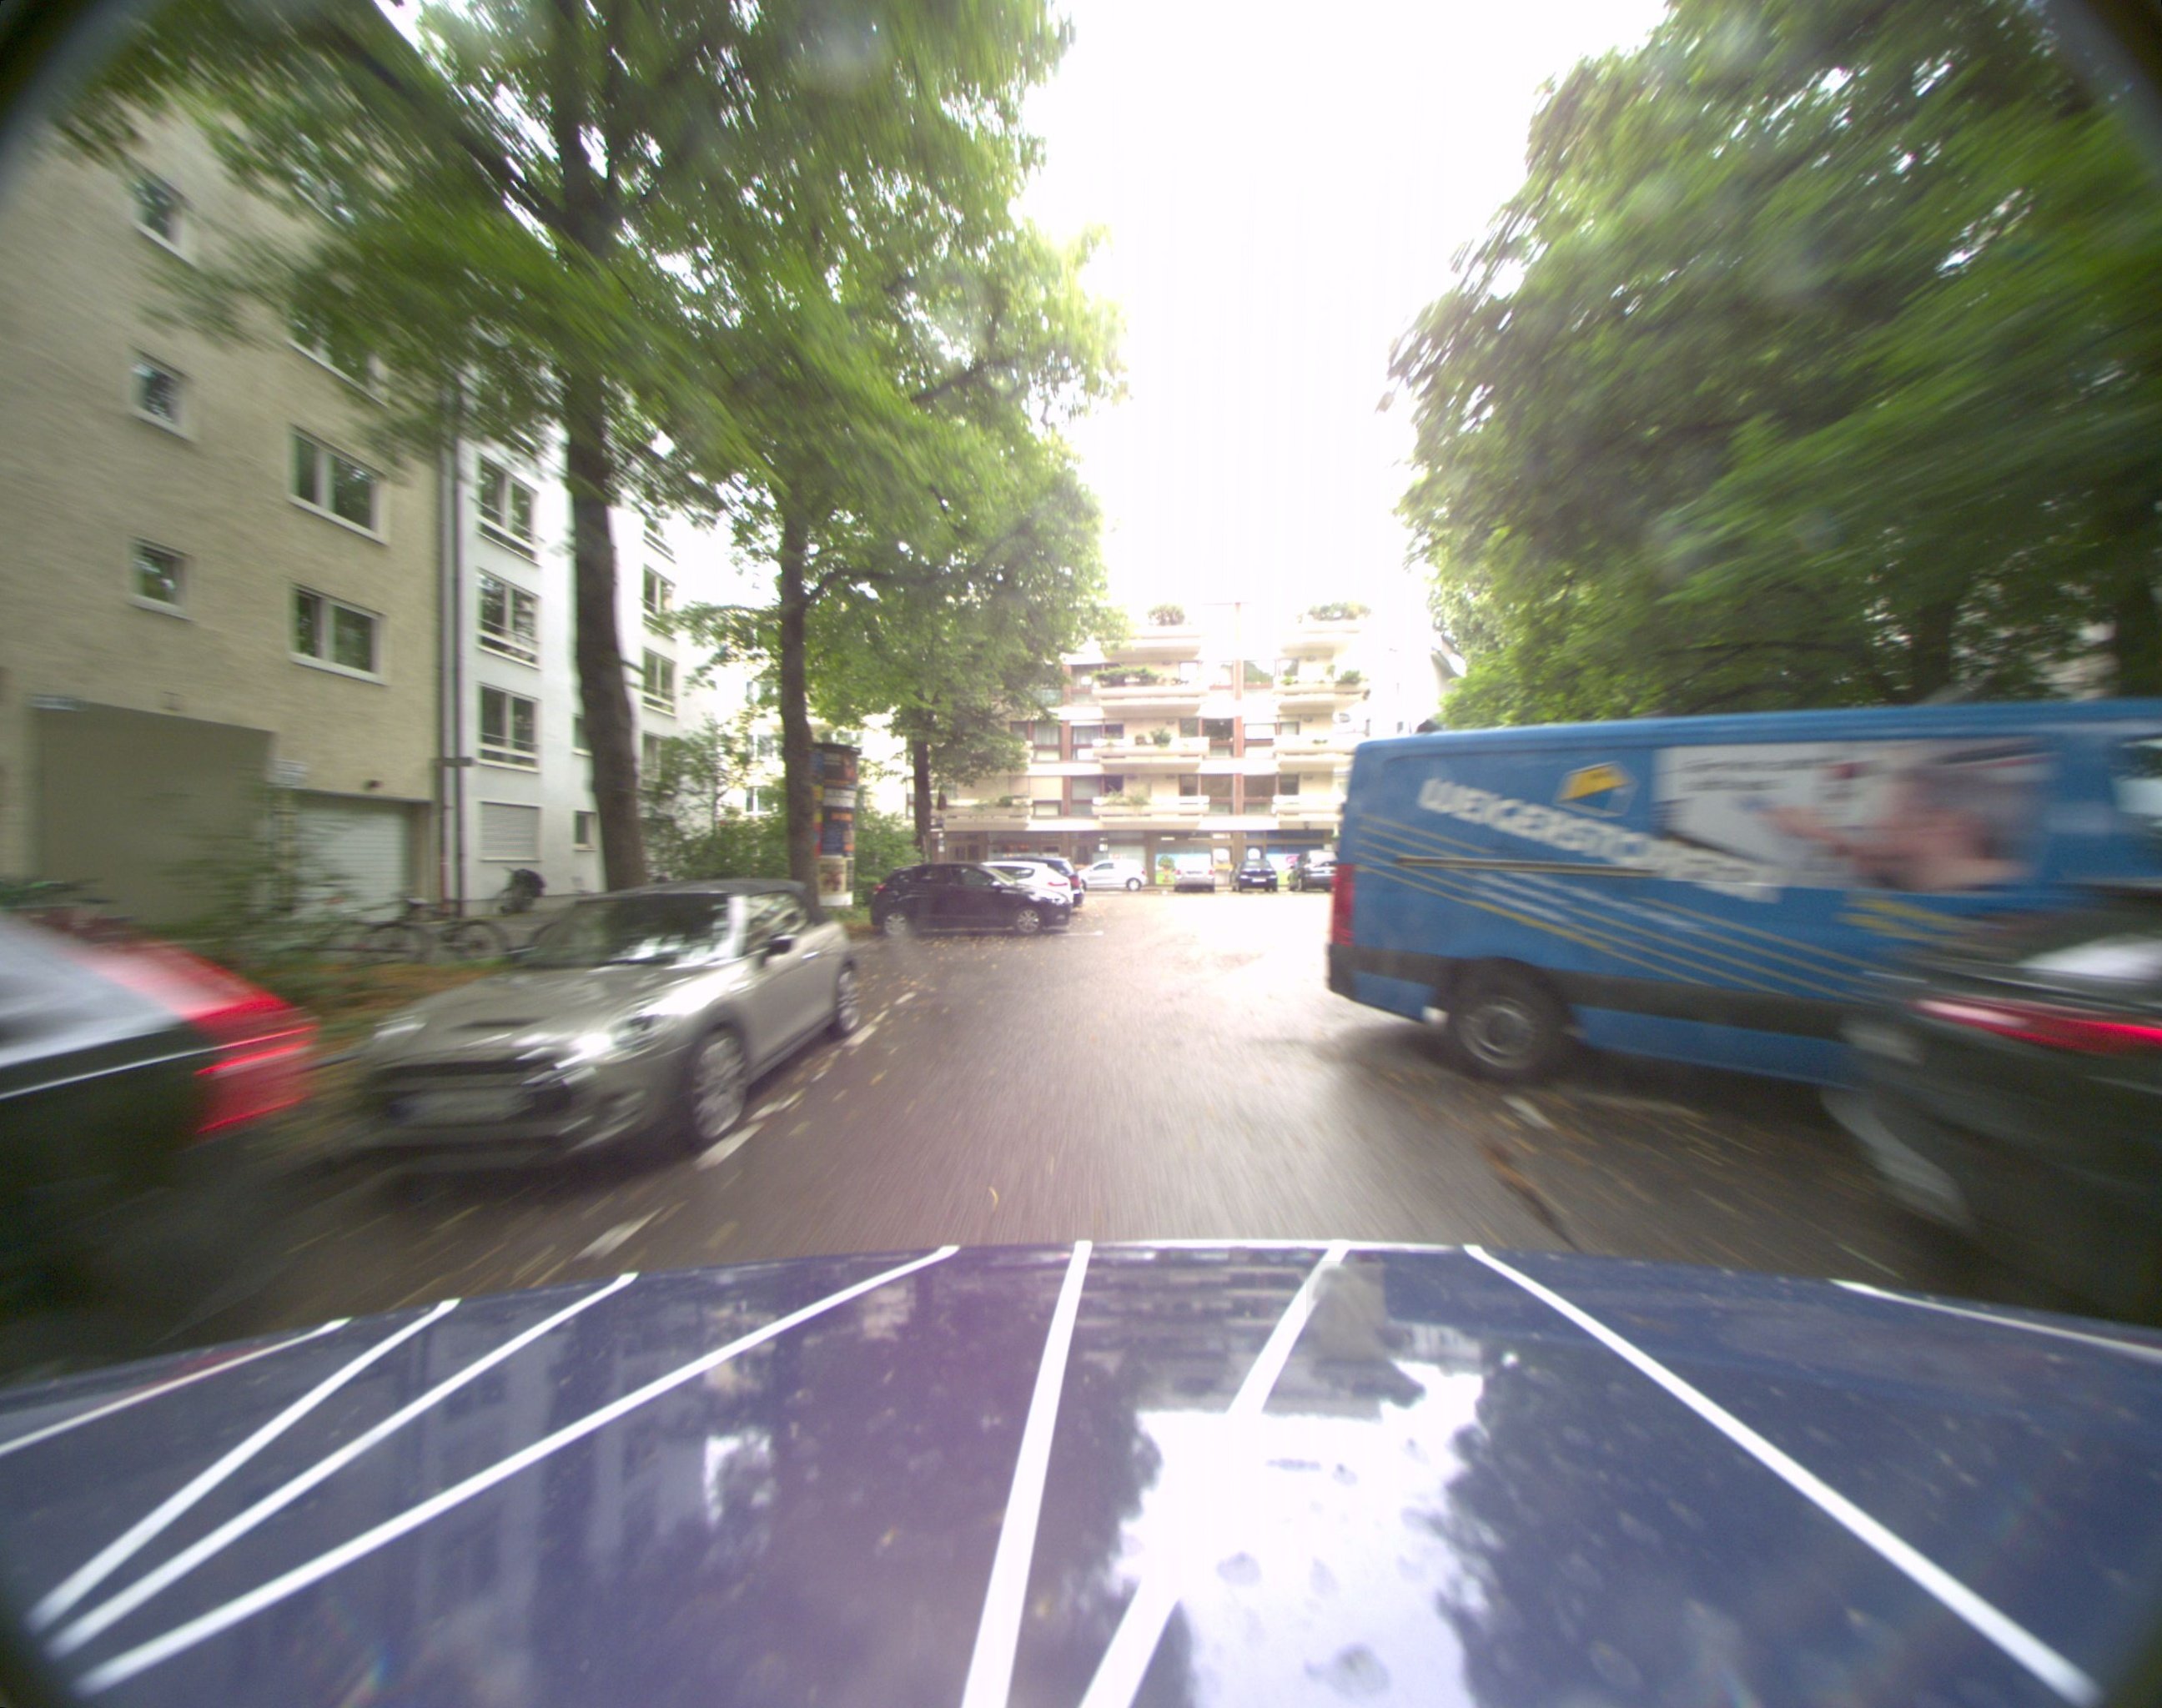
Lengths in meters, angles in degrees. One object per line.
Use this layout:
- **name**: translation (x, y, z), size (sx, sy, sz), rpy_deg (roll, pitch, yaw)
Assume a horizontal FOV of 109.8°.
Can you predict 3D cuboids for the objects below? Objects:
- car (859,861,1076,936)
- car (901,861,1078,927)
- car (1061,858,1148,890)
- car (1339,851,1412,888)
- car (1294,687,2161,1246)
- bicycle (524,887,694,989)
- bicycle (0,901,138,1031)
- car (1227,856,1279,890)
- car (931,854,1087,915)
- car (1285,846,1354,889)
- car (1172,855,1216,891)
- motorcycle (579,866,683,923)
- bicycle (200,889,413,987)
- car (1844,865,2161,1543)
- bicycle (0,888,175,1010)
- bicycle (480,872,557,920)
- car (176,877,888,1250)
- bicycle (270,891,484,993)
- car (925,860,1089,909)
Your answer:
- **car**: translation (-2.195, 0.870, 15.436), size (4.092, 1.386, 1.735), rpy_deg (0, 1, 2)
- **car**: translation (-2.090, 0.899, 17.990), size (3.946, 1.439, 1.826), rpy_deg (0, 1, -3)
- **car**: translation (1.104, 0.932, 34.703), size (3.828, 1.412, 1.567), rpy_deg (-1, -2, 5)
- **car**: translation (12.328, 0.713, 32.102), size (1.833, 1.470, 4.003), rpy_deg (0, -3, 5)
- **car**: translation (4.362, 0.427, 4.578), size (5.478, 2.341, 2.070), rpy_deg (3, 3, 36)
- **bicycle**: translation (-6.295, 1.070, 10.185), size (1.873, 1.157, 0.764), rpy_deg (-1, 1, -36)
- **bicycle**: translation (-10.167, 1.066, 7.208), size (0.445, 1.117, 1.770), rpy_deg (-1, 0, -10)
- **car**: translation (7.348, 0.844, 32.698), size (1.715, 1.359, 4.075), rpy_deg (-1, -2, 6)
- **car**: translation (-1.838, 0.786, 20.363), size (3.981, 1.546, 1.756), rpy_deg (0, 1, 1)
- **car**: translation (9.976, 0.618, 32.088), size (1.900, 1.673, 4.237), rpy_deg (-1, -2, 5)
- **car**: translation (4.872, 0.860, 33.090), size (1.719, 1.445, 4.246), rpy_deg (-1, -3, 6)
- **motorcycle**: translation (-9.838, 0.878, 16.661), size (1.807, 1.191, 0.691), rpy_deg (0, 1, -6)
- **bicycle**: translation (-9.717, 1.037, 9.594), size (1.877, 1.117, 0.540), rpy_deg (-1, 1, -11)
- **car**: translation (4.372, 0.864, 1.395), size (3.988, 1.528, 1.819), rpy_deg (2, 2, 39)
- **bicycle**: translation (-10.859, 0.962, 8.121), size (0.445, 1.117, 1.770), rpy_deg (-1, 0, -10)
- **bicycle**: translation (-13.376, 0.979, 18.134), size (0.539, 1.017, 1.701), rpy_deg (3, 1, 0)
- **car**: translation (-2.926, 0.974, 5.489), size (1.903, 1.405, 4.429), rpy_deg (1, 1, 0)
- **bicycle**: translation (-8.474, 1.041, 9.217), size (1.877, 1.117, 0.540), rpy_deg (-1, 1, -11)
- **car**: translation (-2.194, 0.886, 23.076), size (4.731, 1.369, 1.959), rpy_deg (0, 1, -3)
